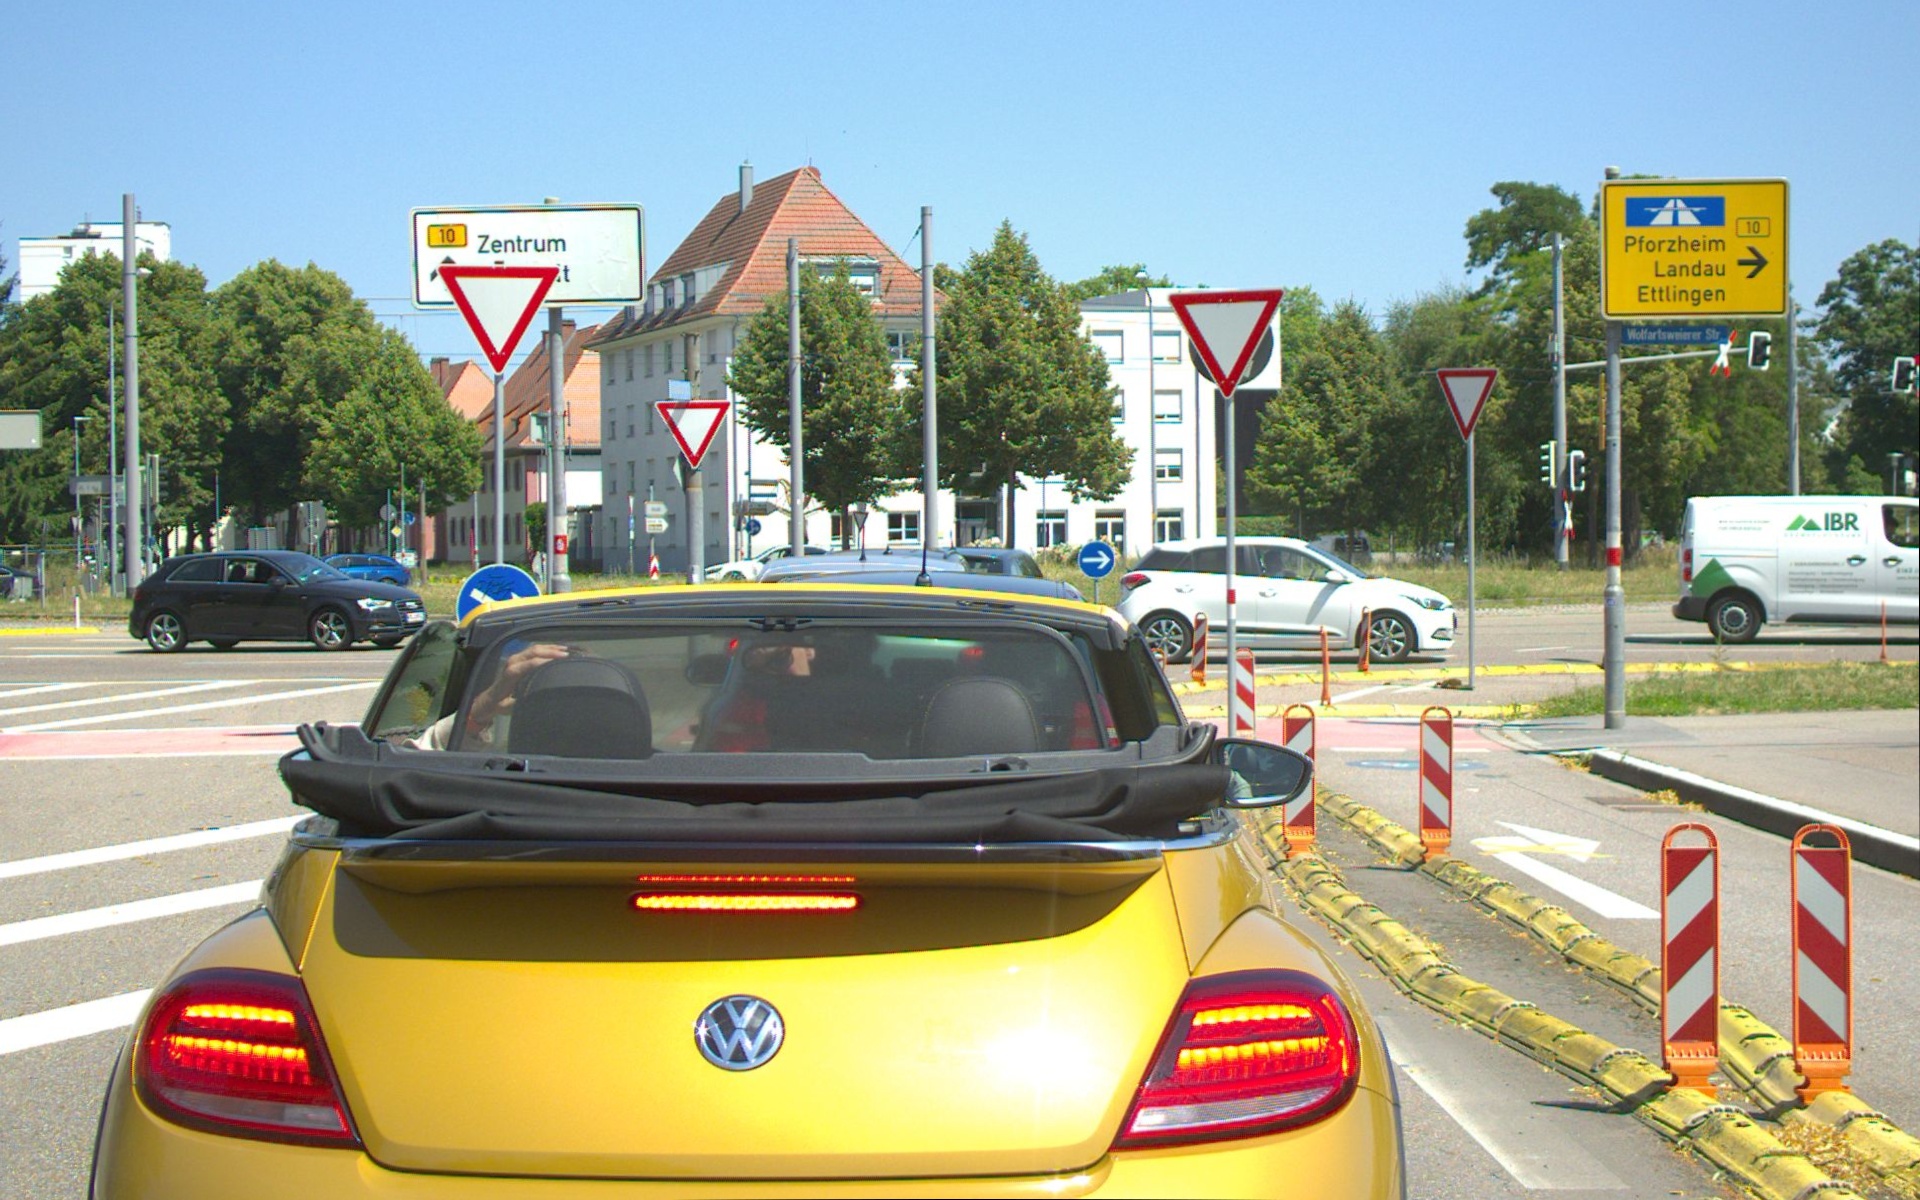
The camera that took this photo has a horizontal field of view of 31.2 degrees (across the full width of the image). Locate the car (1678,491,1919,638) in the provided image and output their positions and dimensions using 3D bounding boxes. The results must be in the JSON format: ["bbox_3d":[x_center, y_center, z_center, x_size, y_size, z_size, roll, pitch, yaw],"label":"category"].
[{"bbox_3d":[11.755,-0.457,44.079,4.973,1.843,1.999,0,1,12],"label":"car"}]

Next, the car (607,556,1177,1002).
[{"bbox_3d":[-0.242,0.557,13.163,1.848,1.437,4.000,0,1,-1],"label":"car"}]

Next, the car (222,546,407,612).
[{"bbox_3d":[-18.902,-0.615,100.726,4.916,1.780,2.026,-2,1,-30],"label":"car"}]

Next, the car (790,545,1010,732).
[{"bbox_3d":[-0.495,0.278,29.255,1.736,1.472,4.000,0,1,-1],"label":"car"}]

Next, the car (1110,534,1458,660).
[{"bbox_3d":[3.850,-0.051,40.600,4.009,1.439,1.632,0,1,8],"label":"car"}]

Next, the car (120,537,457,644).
[{"bbox_3d":[-9.399,-0.154,48.208,4.190,1.437,1.998,0,1,16],"label":"car"}]

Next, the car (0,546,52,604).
[{"bbox_3d":[-27.481,-0.640,94.627,4.405,1.564,2.026,-2,1,-30],"label":"car"}]

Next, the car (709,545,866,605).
[{"bbox_3d":[-5.381,-0.778,106.872,4.669,1.821,2.001,0,1,-9],"label":"car"}]

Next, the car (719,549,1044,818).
[{"bbox_3d":[-0.440,0.421,20.404,1.736,1.437,4.000,0,1,-1],"label":"car"}]

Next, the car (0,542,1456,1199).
[{"bbox_3d":[-0.340,0.617,5.809,1.752,1.417,3.778,0,1,-1],"label":"car"}]
